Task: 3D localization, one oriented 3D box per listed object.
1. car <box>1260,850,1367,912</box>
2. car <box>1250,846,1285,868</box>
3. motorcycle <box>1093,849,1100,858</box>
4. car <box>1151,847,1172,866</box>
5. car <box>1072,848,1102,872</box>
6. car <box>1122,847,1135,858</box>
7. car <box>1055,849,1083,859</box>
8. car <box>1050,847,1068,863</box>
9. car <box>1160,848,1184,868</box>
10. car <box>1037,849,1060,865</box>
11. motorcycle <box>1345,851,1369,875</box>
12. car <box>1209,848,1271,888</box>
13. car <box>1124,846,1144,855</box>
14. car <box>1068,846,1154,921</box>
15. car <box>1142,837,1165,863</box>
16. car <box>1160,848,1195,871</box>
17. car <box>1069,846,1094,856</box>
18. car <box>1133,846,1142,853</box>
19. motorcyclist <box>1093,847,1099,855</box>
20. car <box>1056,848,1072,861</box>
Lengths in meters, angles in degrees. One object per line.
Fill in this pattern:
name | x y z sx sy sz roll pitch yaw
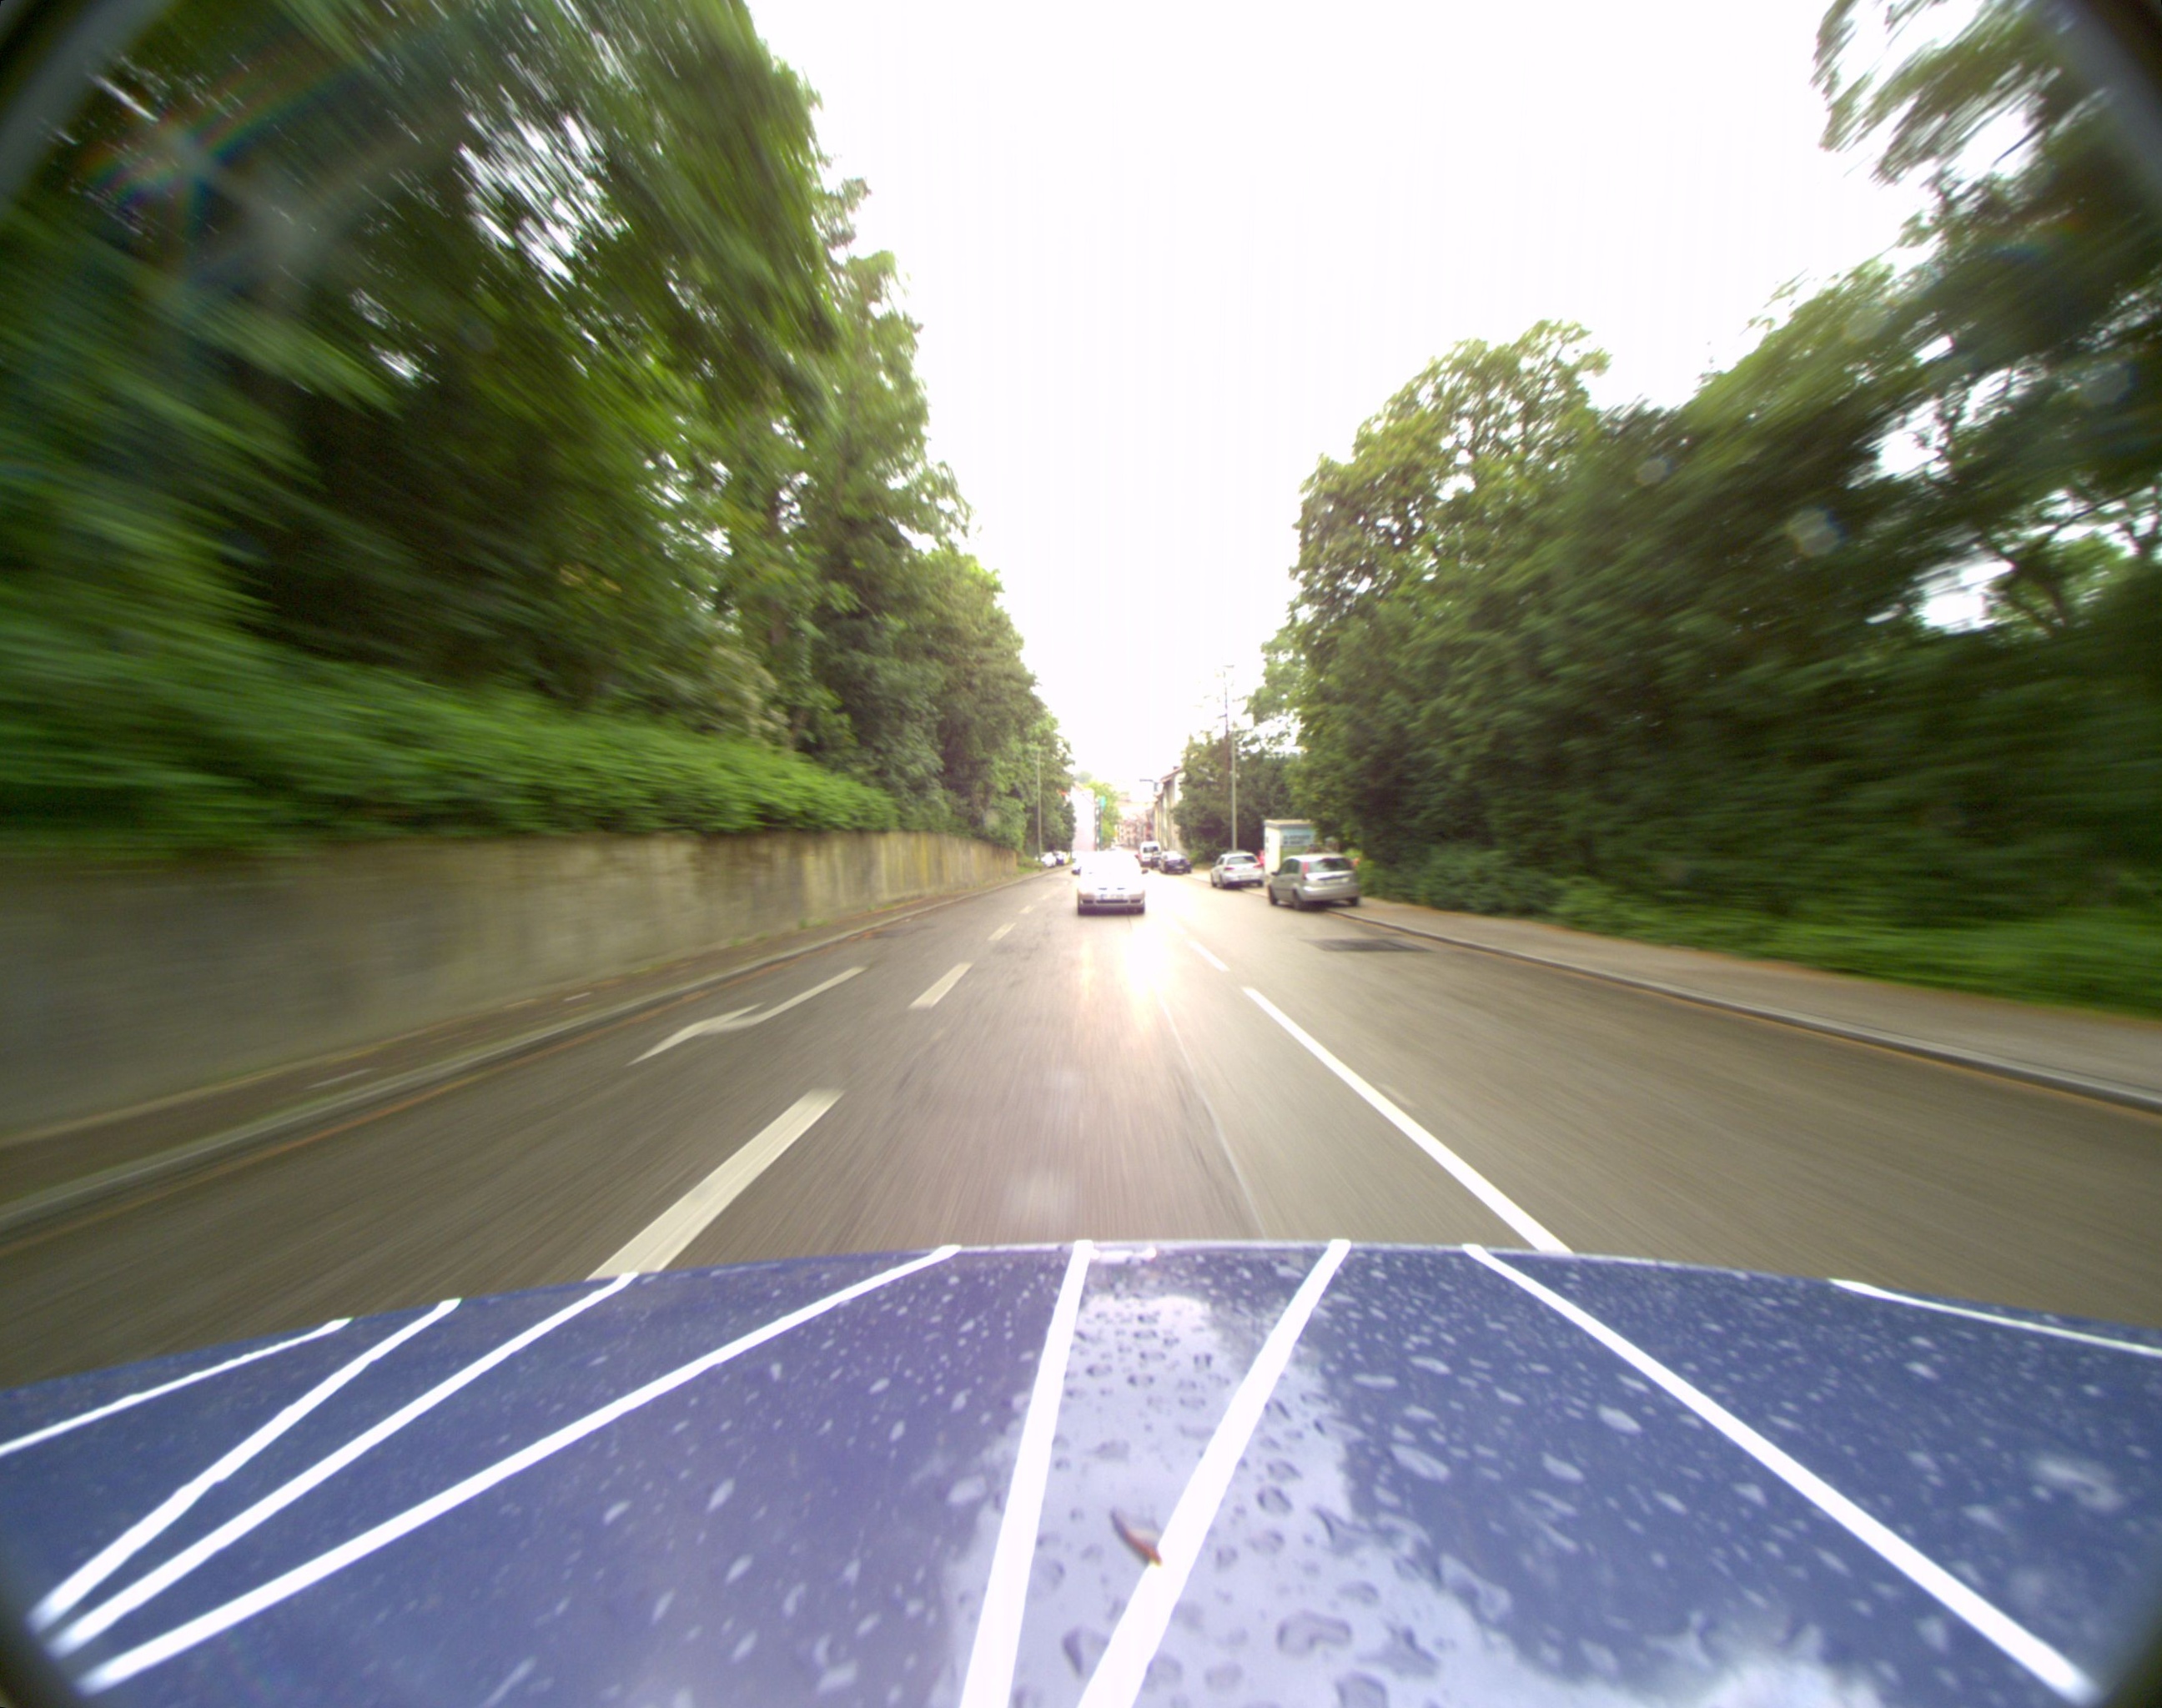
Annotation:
car | 6.389 0.676 21.302 1.630 1.490 3.927 -3 1 -2
car | 13.004 0.182 53.116 1.625 1.450 3.774 -1 1 1
motorcycle | 2.105 -0.025 103.081 0.778 1.120 2.300 -3 1 6
car | 6.985 0.185 66.342 1.648 1.595 4.186 1 1 4
car | 0.478 0.375 54.839 1.998 1.603 3.967 -1 1 3
car | 6.316 -0.206 100.542 1.764 1.482 4.001 0 1 4
car | -1.785 -0.018 116.507 4.192 1.408 1.804 1 1 3
car | -2.452 0.104 85.886 1.769 1.614 4.679 -1 1 2
car | 7.211 0.287 60.530 1.659 1.560 4.149 0 0 4
car | -3.177 0.308 74.908 1.742 1.469 4.741 1 1 4
motorcycle | 14.583 0.470 40.202 0.601 1.182 2.278 -1 1 4
car | 6.829 0.561 33.017 1.891 1.602 4.239 1 1 1
car | 8.654 -0.517 123.905 1.725 1.427 3.919 1 1 27
car | 0.868 0.653 19.073 1.825 1.603 4.190 -2 1 6
car | 7.357 -0.438 77.672 2.122 2.536 5.444 1 1 3
car | 6.772 0.355 53.699 1.864 1.485 4.755 2 1 0
car | 0.033 -0.494 131.163 4.192 1.565 1.804 2 1 3
car | 12.122 -0.958 162.796 1.908 1.647 4.329 0 1 4
motorcyclist | 2.052 -0.413 102.763 0.778 1.120 0.549 -3 1 6
car | -2.066 0.030 92.093 1.567 1.459 3.899 1 1 4
